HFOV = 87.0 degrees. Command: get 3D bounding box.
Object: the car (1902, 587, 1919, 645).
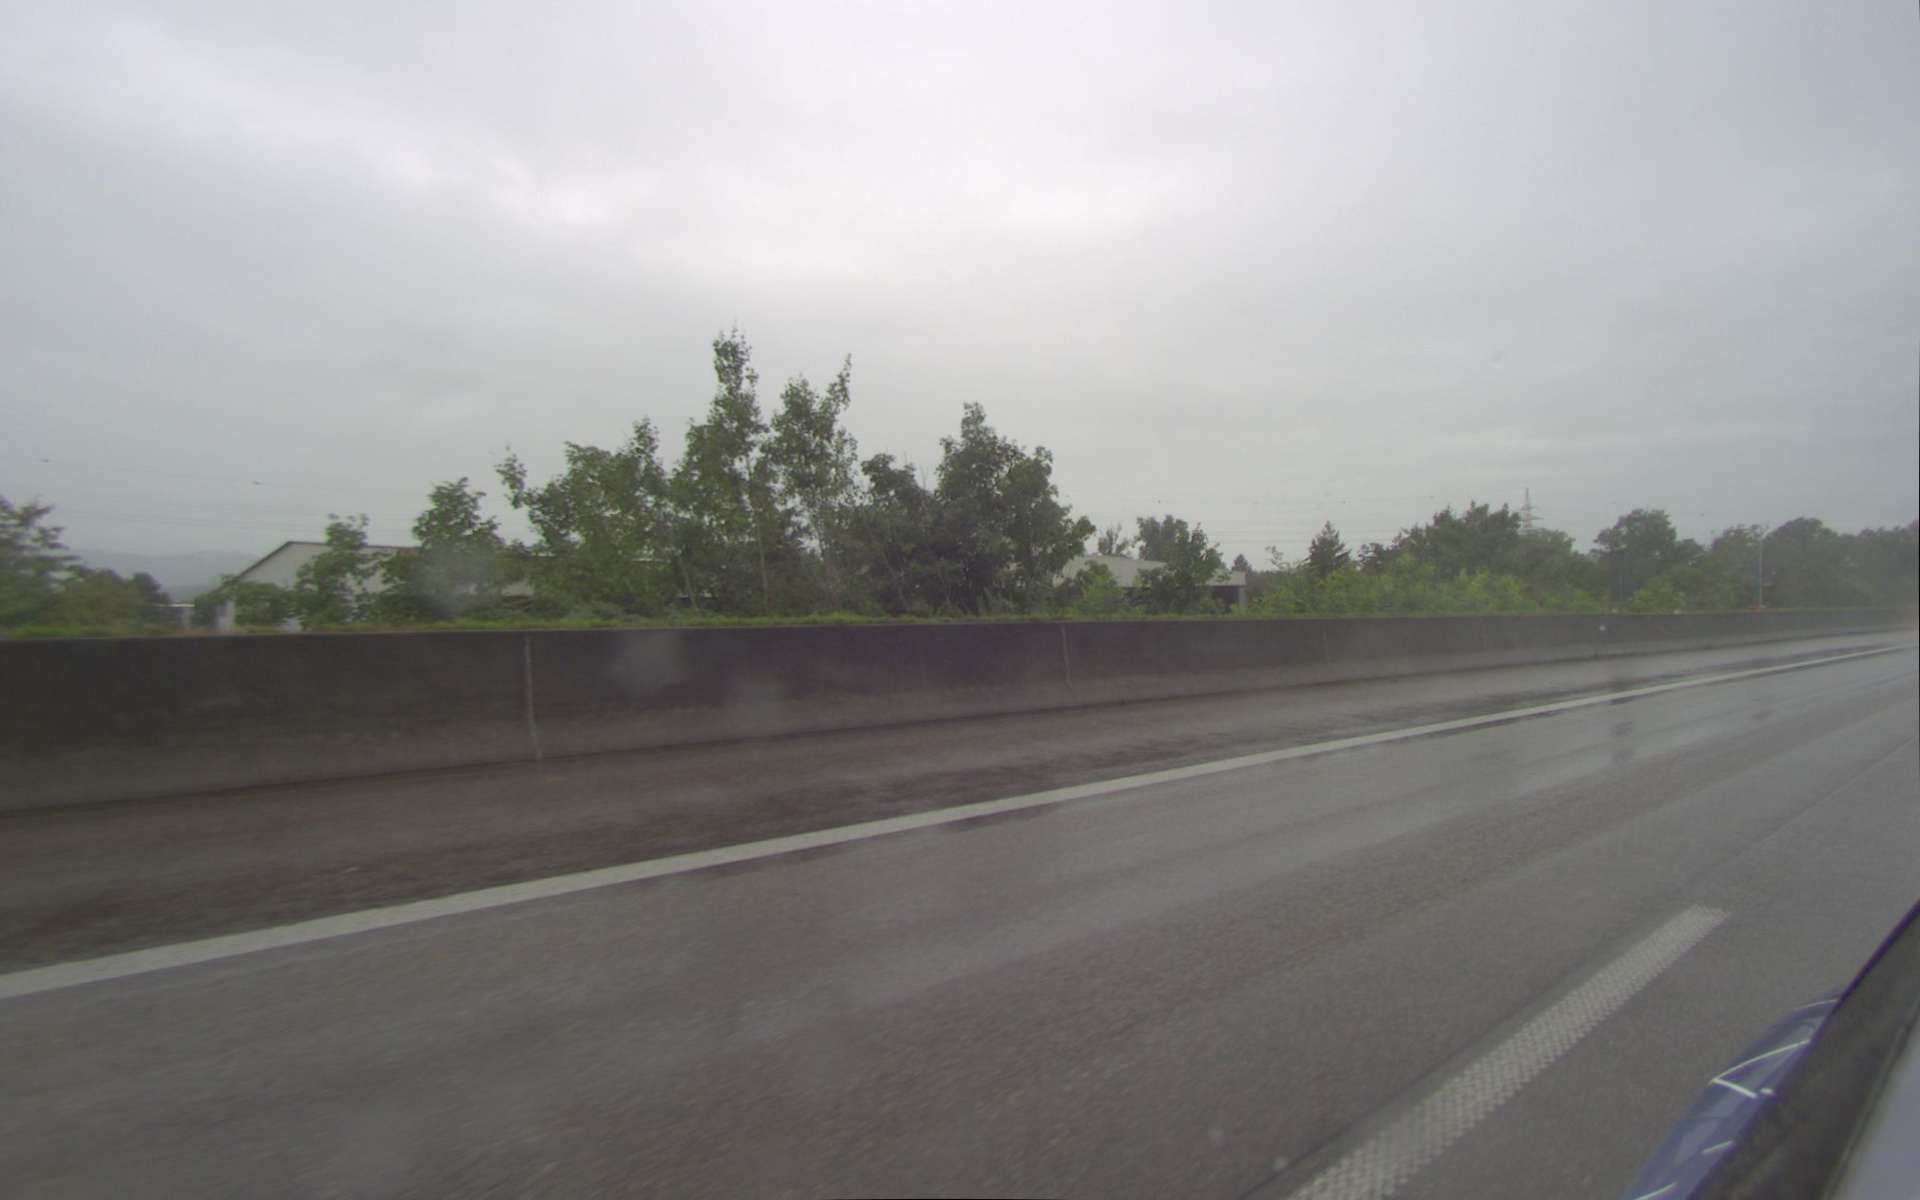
[{"bbox_3d":[32.156,0.514,32.123,5.614,1.768,2.464,0,0,-38],"label":"car"}]
